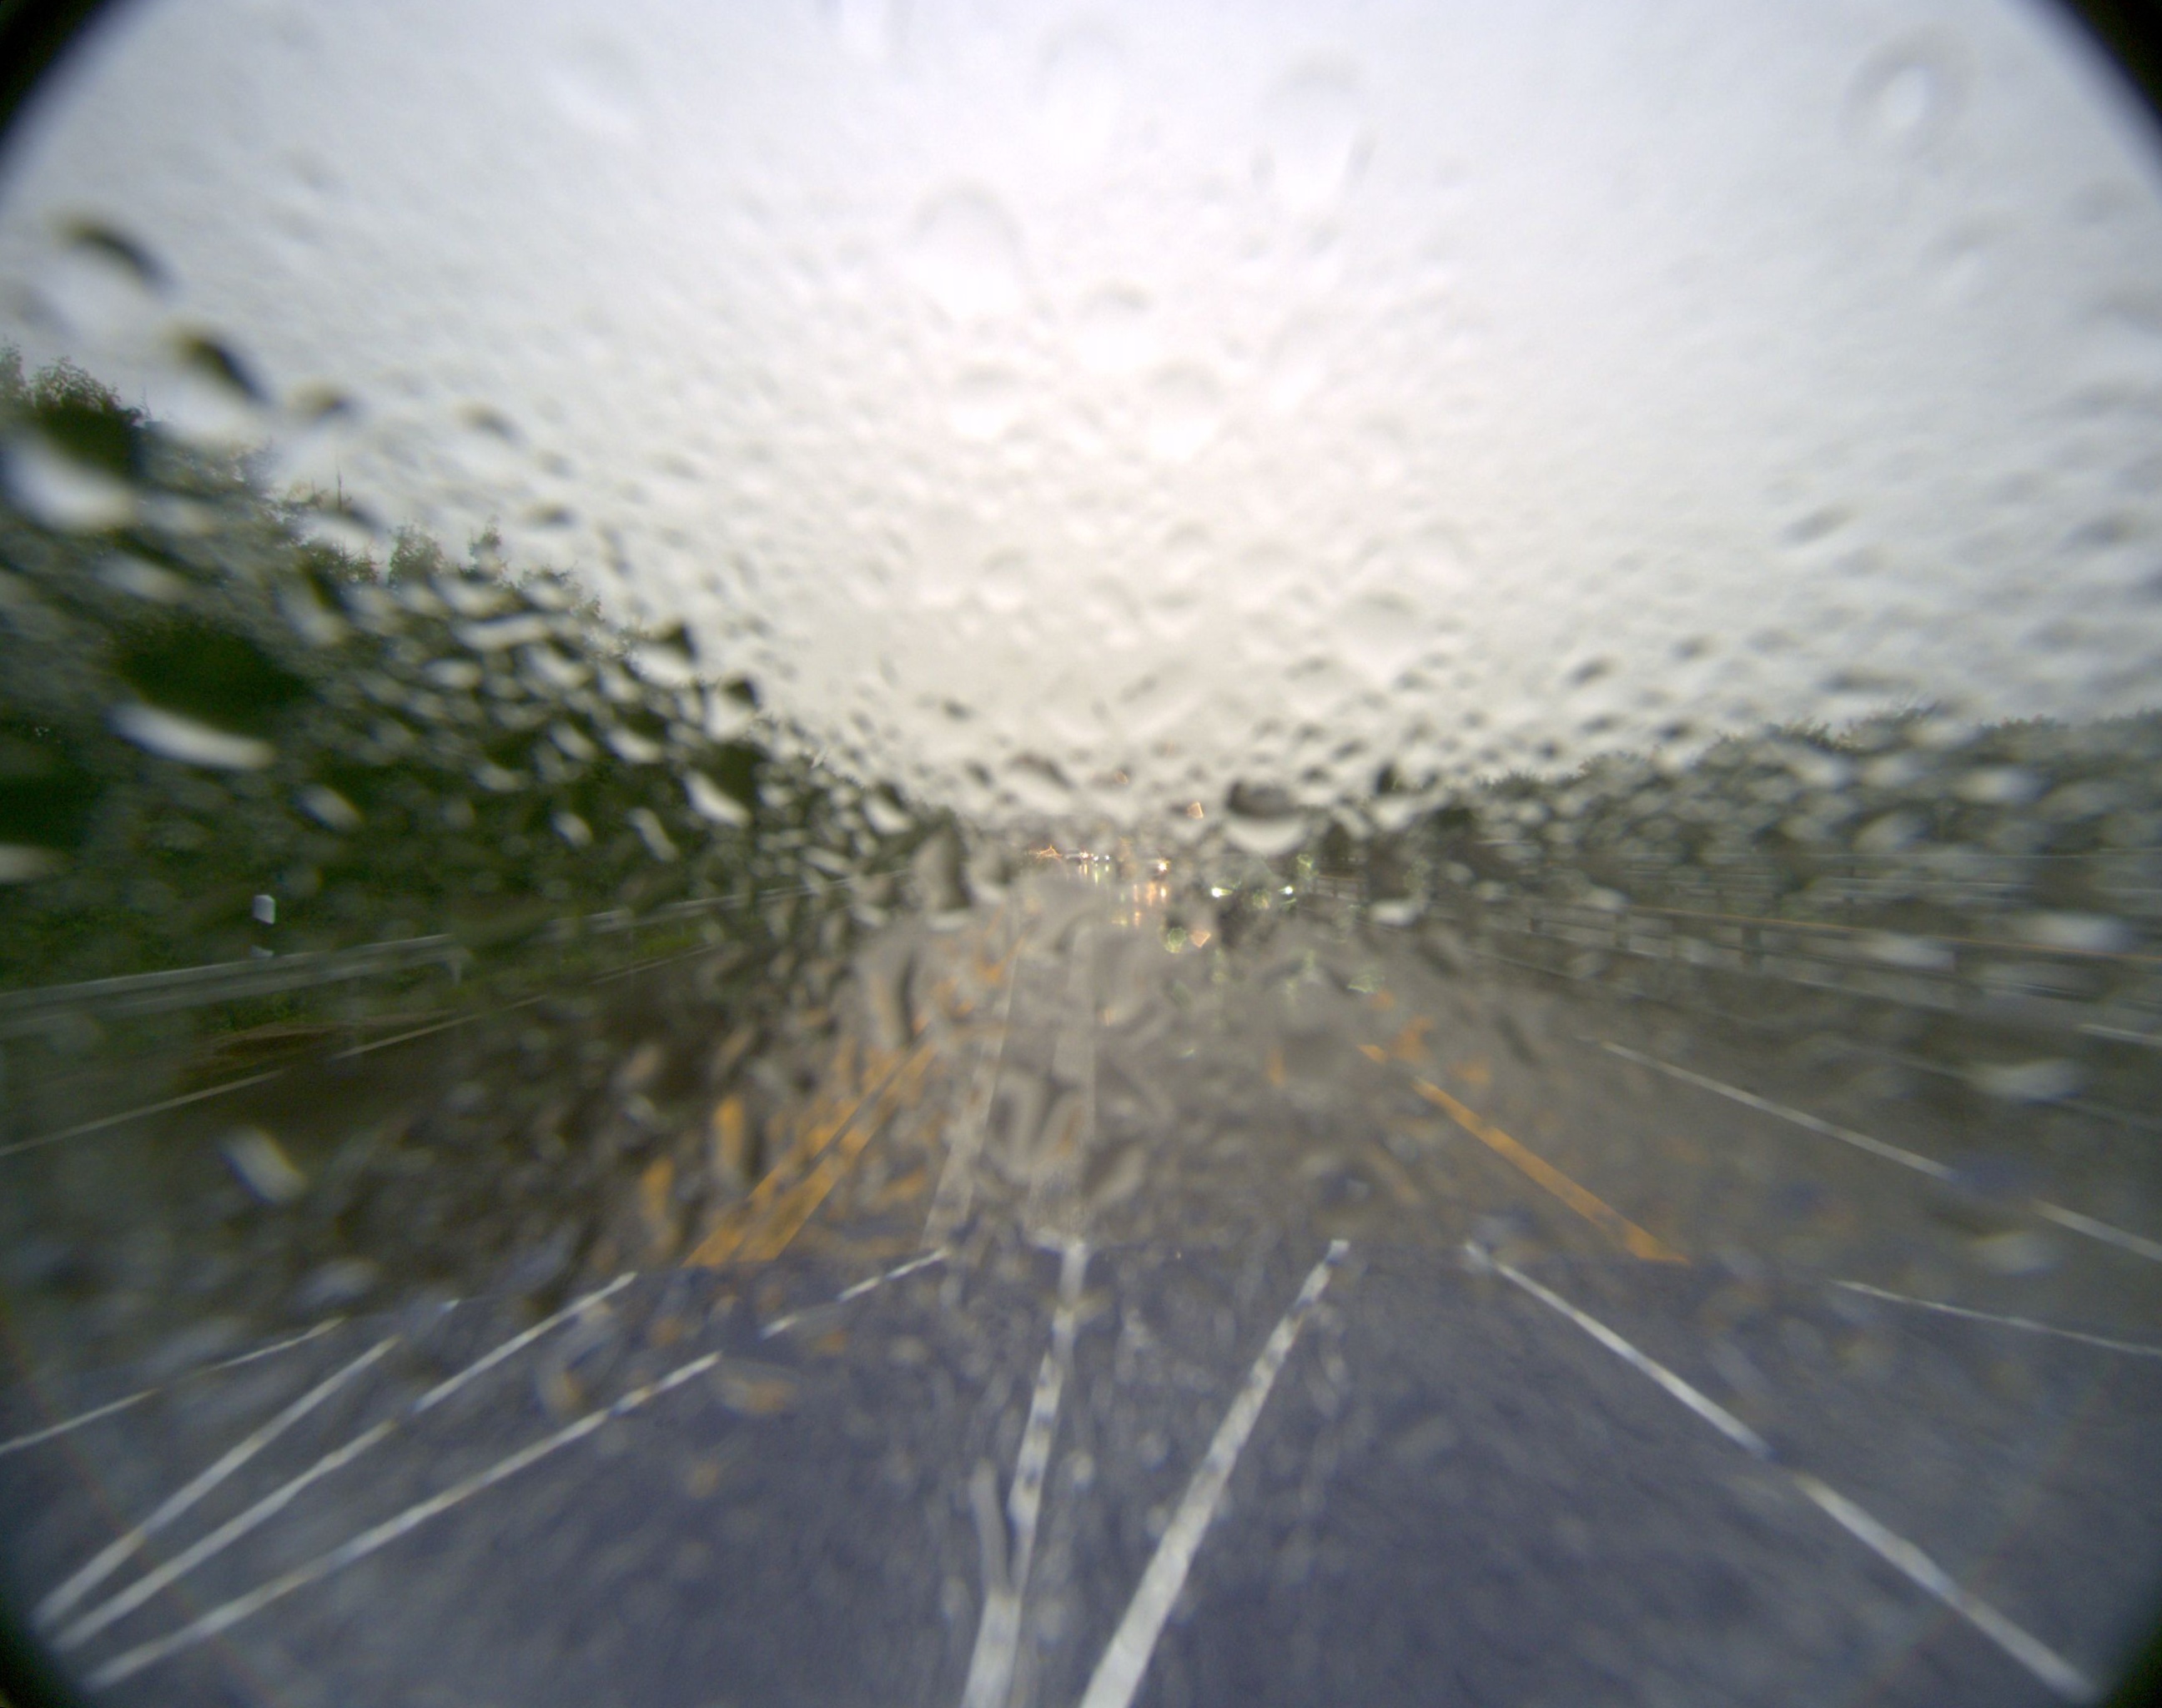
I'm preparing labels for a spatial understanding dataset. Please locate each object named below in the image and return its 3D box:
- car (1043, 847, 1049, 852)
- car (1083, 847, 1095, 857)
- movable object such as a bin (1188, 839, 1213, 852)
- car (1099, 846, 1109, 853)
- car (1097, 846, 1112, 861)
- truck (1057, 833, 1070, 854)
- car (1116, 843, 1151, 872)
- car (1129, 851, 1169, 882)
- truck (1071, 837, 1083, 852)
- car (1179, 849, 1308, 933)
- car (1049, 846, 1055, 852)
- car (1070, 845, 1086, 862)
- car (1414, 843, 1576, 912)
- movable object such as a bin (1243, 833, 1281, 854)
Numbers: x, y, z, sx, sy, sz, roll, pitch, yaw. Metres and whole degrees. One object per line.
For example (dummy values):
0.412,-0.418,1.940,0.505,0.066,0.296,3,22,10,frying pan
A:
-11.524,-1.359,249.404,1.752,1.579,3.999,-2,1,-1,car
1.376,-0.358,129.245,1.845,1.586,3.999,-2,1,-1,car
23.361,-1.704,149.079,3.448,2.281,5.097,-2,1,-7,movable object such as a bin
5.305,-1.073,176.039,1.956,1.707,5.100,-2,1,-3,car
2.982,-0.074,97.120,1.695,1.740,3.999,-2,1,-1,car
-3.557,-2.136,154.065,2.484,4.061,8.702,-2,1,-1,truck
3.908,0.237,57.621,2.211,2.002,5.563,-2,1,0,car
3.709,0.668,42.302,1.978,1.586,4.310,-1,-1,2,car
-1.332,-3.031,246.313,3.283,4.809,15.981,-2,1,-1,truck
3.341,0.679,16.552,1.998,1.489,4.631,-2,1,3,car
-8.217,-1.449,215.860,1.752,1.579,3.999,-2,1,-1,car
-0.444,-0.101,95.302,1.881,2.002,3.999,-2,1,-1,car
10.192,0.501,19.119,1.852,1.494,4.129,-2,1,1,car
25.610,-1.442,107.734,3.775,2.782,6.328,-2,1,0,movable object such as a bin
